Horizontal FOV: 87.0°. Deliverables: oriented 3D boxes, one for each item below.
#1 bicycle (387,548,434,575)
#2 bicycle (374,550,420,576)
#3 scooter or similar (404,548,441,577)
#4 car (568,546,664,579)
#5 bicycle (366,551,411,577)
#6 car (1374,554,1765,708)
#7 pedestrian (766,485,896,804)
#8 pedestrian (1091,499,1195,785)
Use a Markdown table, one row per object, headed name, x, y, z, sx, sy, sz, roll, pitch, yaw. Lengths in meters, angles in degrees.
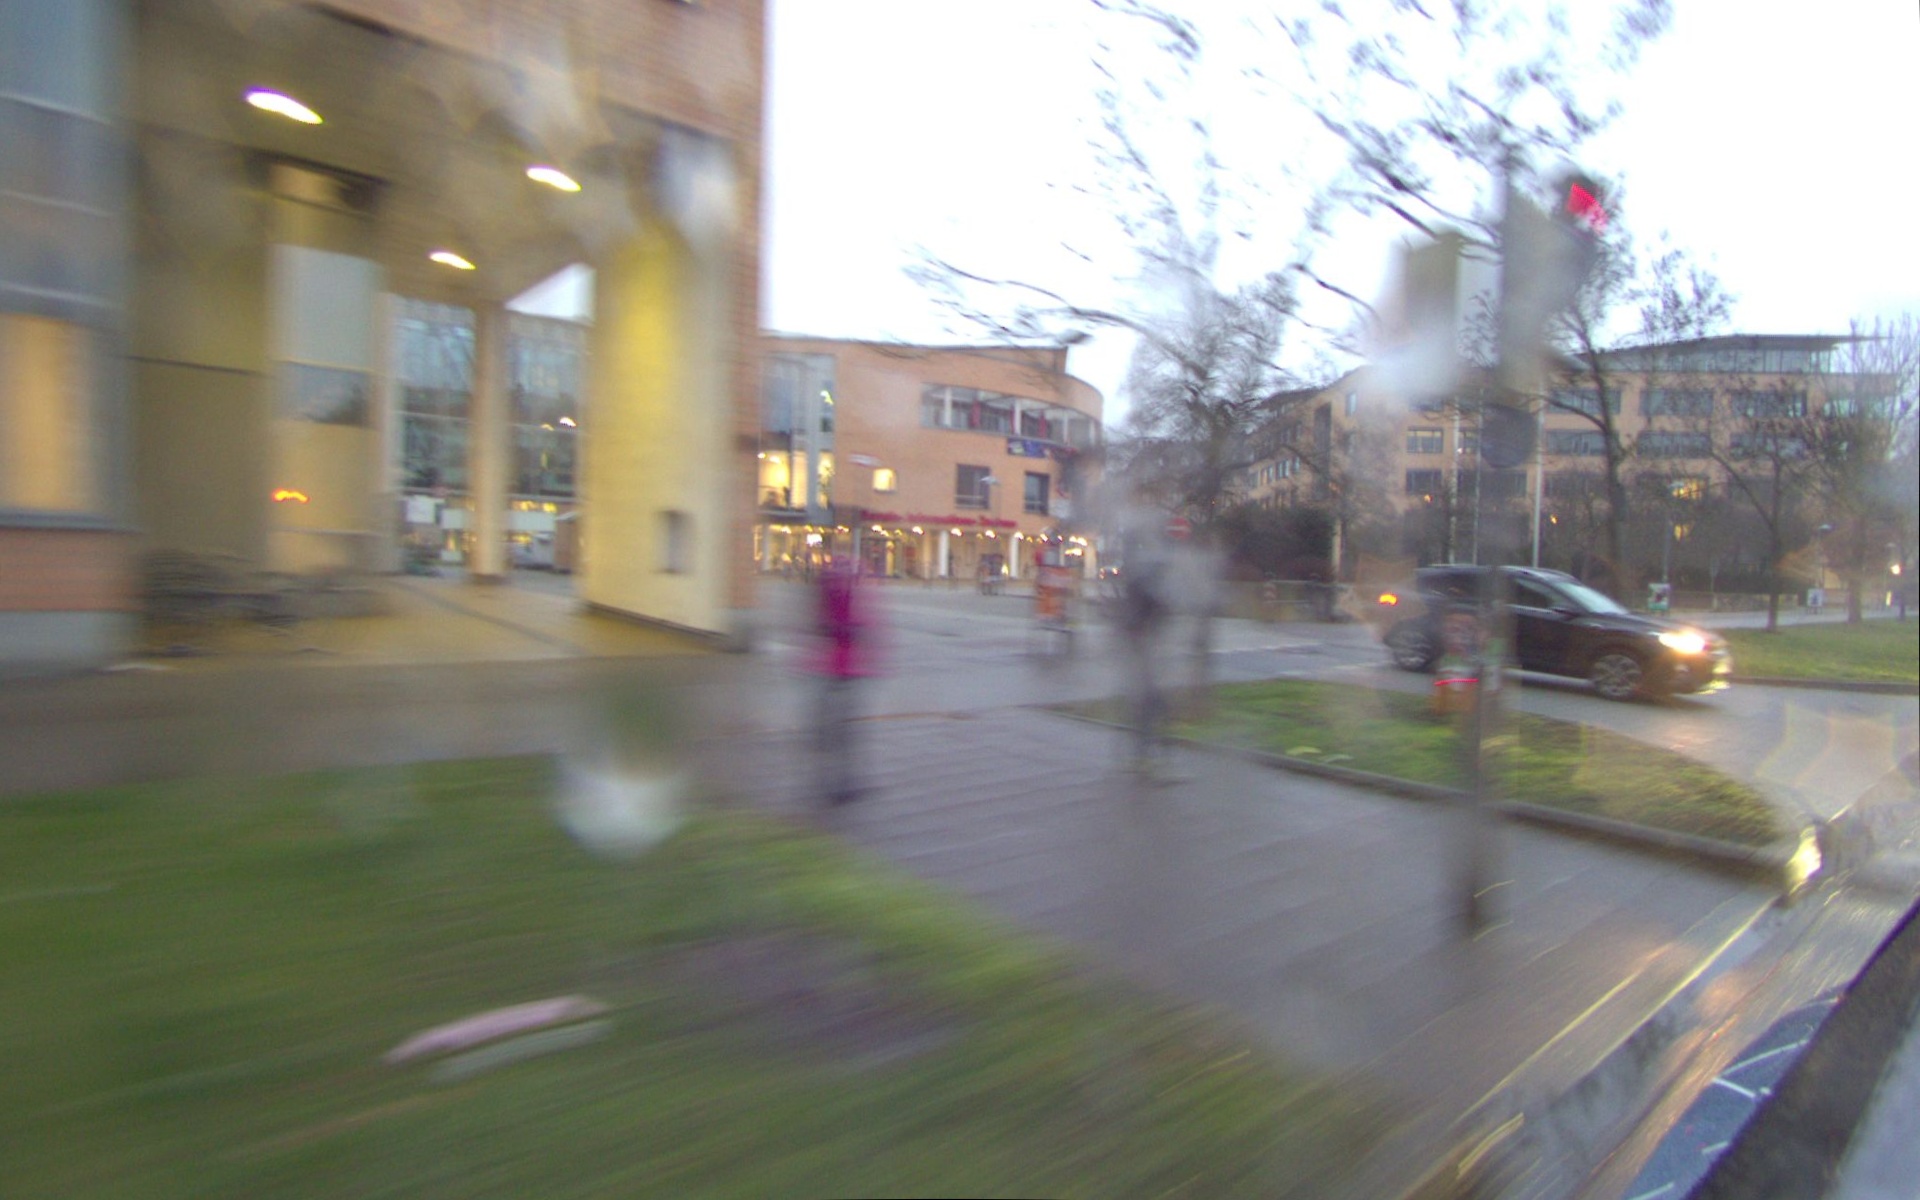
| name | x | y | z | sx | sy | sz | roll | pitch | yaw |
| --- | --- | --- | --- | --- | --- | --- | --- | --- | --- |
| bicycle | -22.869 | -1.580 | 42.136 | 1.674 | 1.088 | 0.492 | -1 | 1 | -42 |
| bicycle | -24.465 | -1.590 | 43.960 | 1.674 | 1.088 | 0.492 | -1 | 1 | -42 |
| scooter or similar | -20.989 | -1.457 | 39.526 | 0.392 | 1.088 | 1.199 | 0 | 1 | 43 |
| car | -16.124 | -1.746 | 47.442 | 3.921 | 1.415 | 2.002 | 0 | 3 | -32 |
| bicycle | -25.406 | -1.595 | 45.006 | 1.674 | 1.088 | 0.492 | -1 | 1 | -42 |
| car | 7.797 | 0.271 | 13.281 | 1.711 | 1.574 | 3.998 | 0 | 4 | -39 |
| pedestrian | -0.747 | 0.229 | 5.980 | 0.499 | 1.763 | 0.654 | 2 | 2 | 17 |
| pedestrian | 1.263 | 0.255 | 6.940 | 0.500 | 1.846 | 0.653 | 3 | 2 | 24 |
